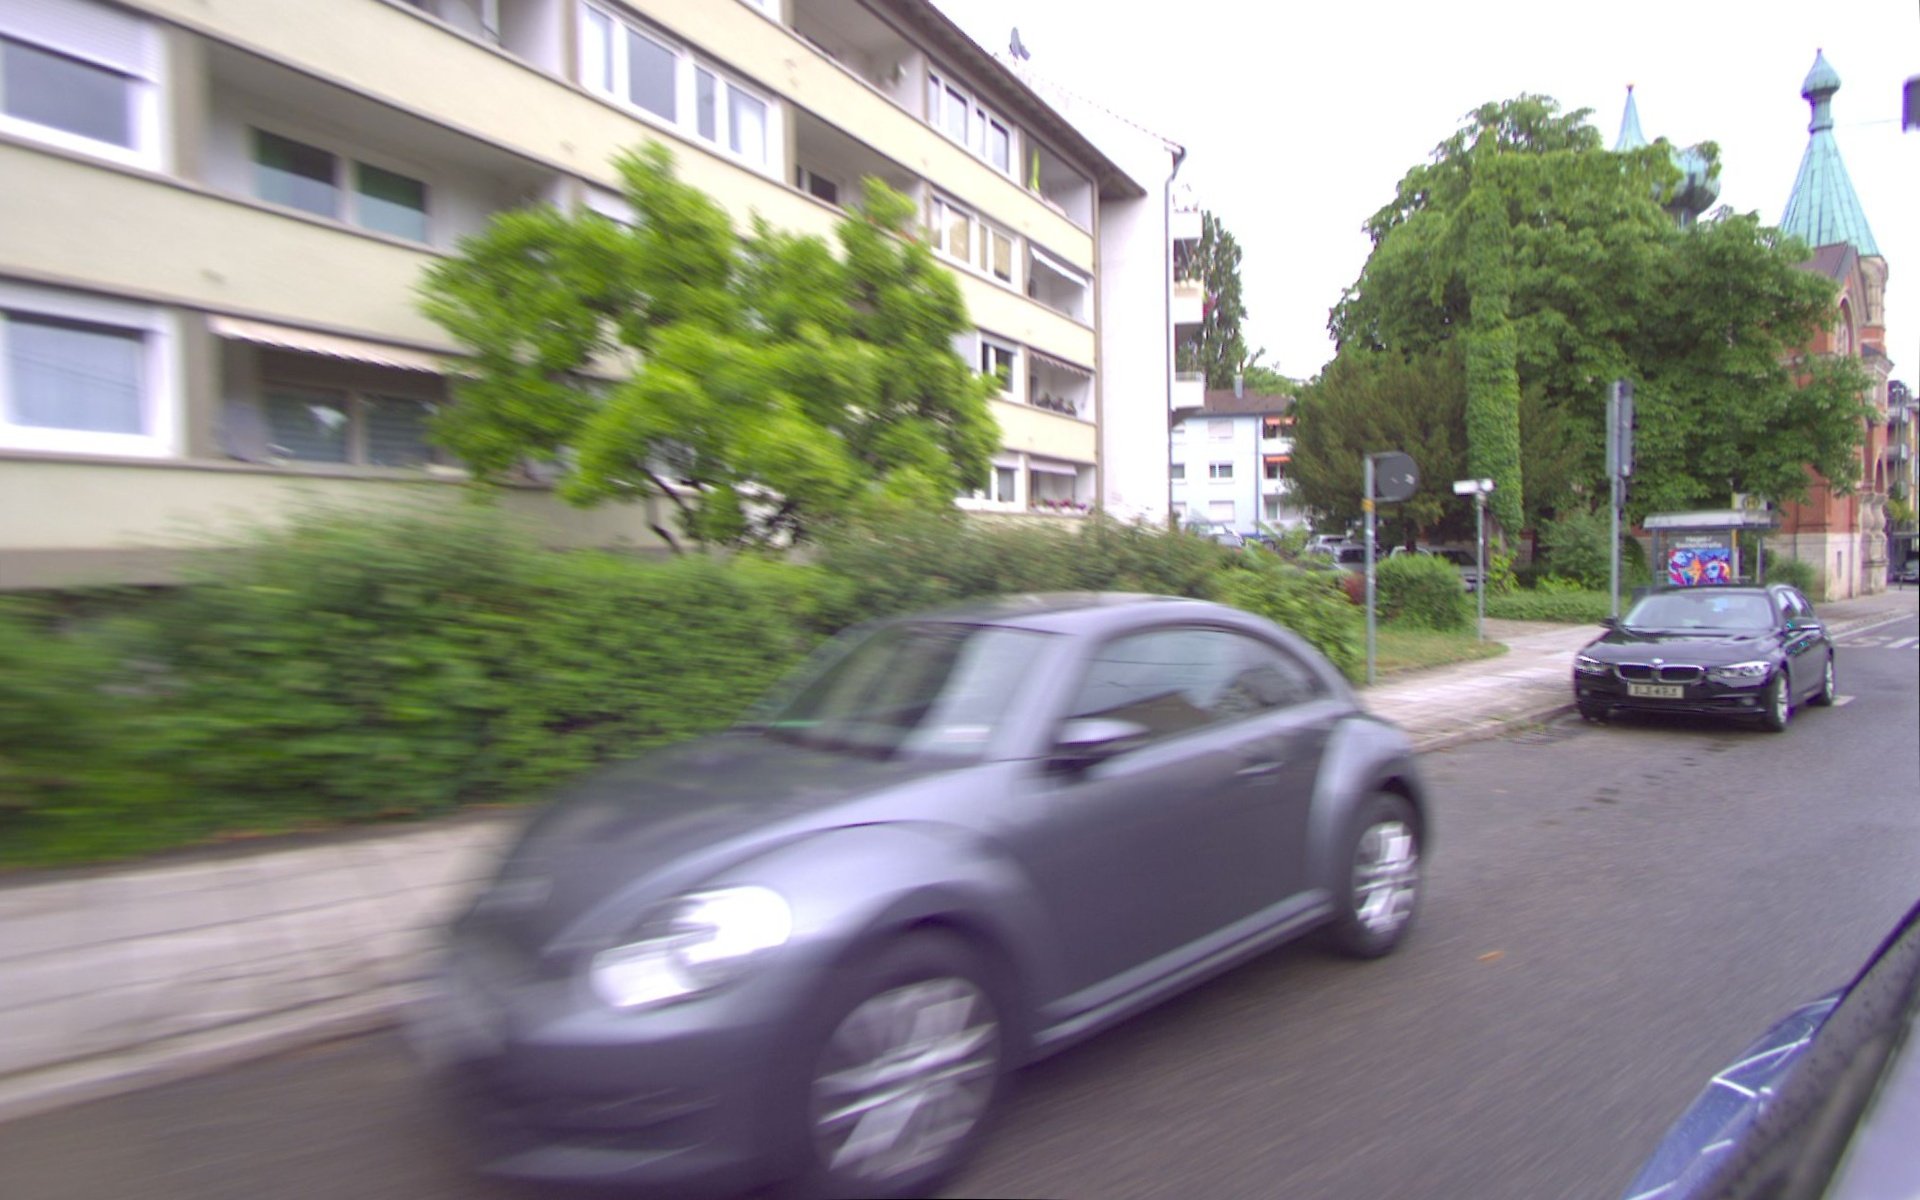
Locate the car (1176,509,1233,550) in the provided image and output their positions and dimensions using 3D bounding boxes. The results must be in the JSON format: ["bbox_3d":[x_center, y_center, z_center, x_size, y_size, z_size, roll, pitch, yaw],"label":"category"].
[{"bbox_3d":[12.837,-3.670,53.380,1.962,2.001,4.001,-2,2,0],"label":"car"}]

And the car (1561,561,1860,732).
[{"bbox_3d":[8.565,0.354,11.382,4.567,1.505,1.860,-3,2,-42],"label":"car"}]

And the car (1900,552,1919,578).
[{"bbox_3d":[64.340,-2.312,67.481,4.373,1.520,1.858,-5,7,-40],"label":"car"}]

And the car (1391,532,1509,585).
[{"bbox_3d":[16.306,-1.395,33.951,1.807,1.577,4.386,-2,2,0],"label":"car"}]

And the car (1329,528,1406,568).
[{"bbox_3d":[17.556,-2.231,43.837,1.808,1.583,3.995,-2,2,2],"label":"car"}]

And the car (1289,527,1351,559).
[{"bbox_3d":[17.404,-2.738,49.136,1.711,1.462,3.836,-2,2,2],"label":"car"}]

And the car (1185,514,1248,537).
[{"bbox_3d":[17.009,-4.906,67.276,3.934,1.423,1.825,0,2,9],"label":"car"}]

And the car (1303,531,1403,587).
[{"bbox_3d":[13.145,-1.373,34.109,1.808,1.716,4.201,-2,2,2],"label":"car"}]

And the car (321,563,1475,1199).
[{"bbox_3d":[0.162,0.643,3.893,4.136,1.482,1.942,-3,2,-43],"label":"car"}]
